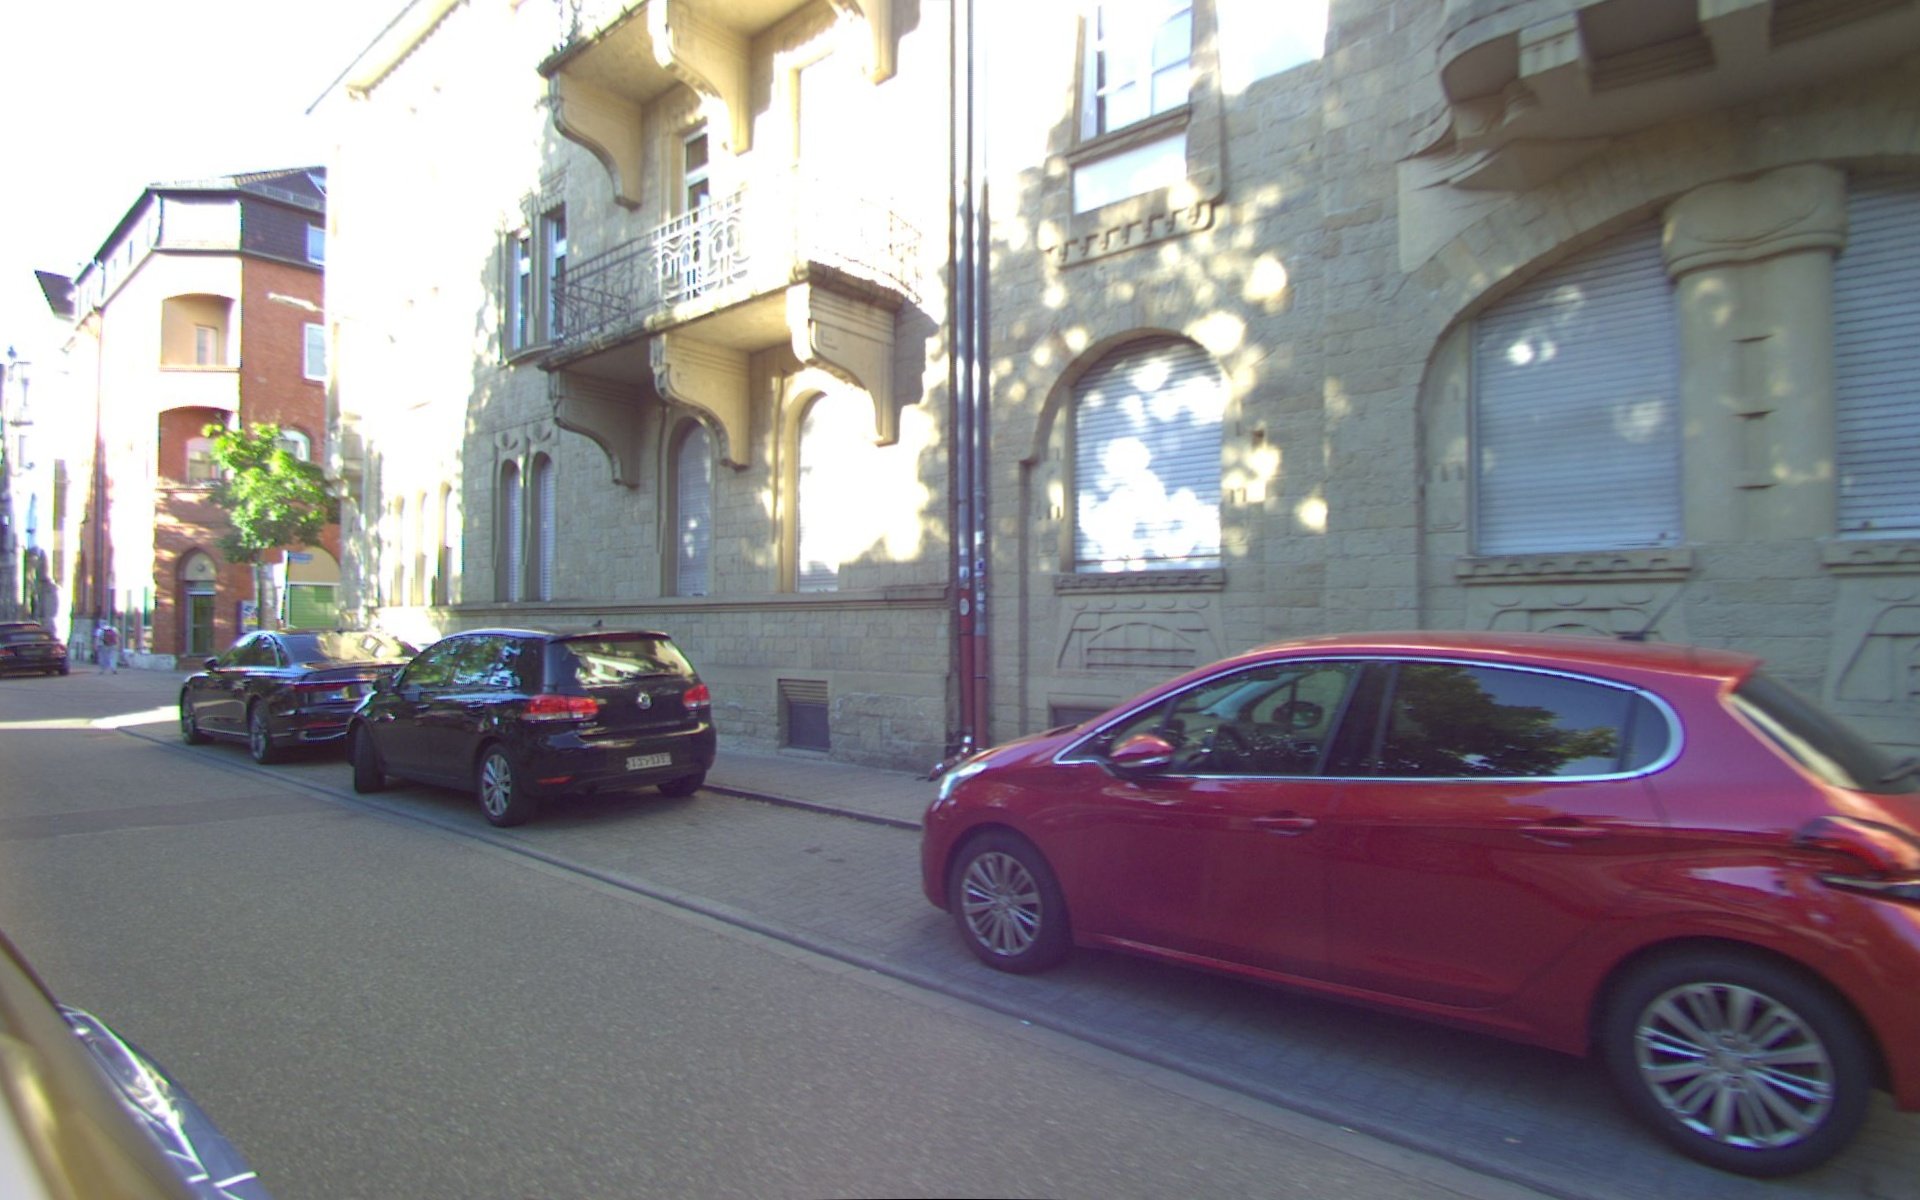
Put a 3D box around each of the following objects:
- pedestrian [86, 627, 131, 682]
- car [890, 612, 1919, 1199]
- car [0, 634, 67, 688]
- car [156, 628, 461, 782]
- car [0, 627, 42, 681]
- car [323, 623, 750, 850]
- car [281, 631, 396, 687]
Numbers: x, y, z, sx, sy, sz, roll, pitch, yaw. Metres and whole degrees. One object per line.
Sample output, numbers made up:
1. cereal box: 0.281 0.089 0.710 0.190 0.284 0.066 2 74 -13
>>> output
1. pedestrian: -25.567 1.608 30.379 1.053 1.589 0.879 1 0 41
2. car: 1.677 0.814 4.044 3.833 1.464 1.613 -2 -1 39
3. car: -27.867 1.756 29.951 4.331 1.421 1.619 -1 0 41
4. car: -8.057 1.101 12.300 4.895 1.437 1.793 -1 0 41
5. car: -32.123 1.763 33.735 4.346 1.693 1.653 -1 -1 39
6. car: -3.728 0.939 8.594 4.024 1.464 1.679 -1 -2 40
7. car: -18.484 1.683 30.009 4.656 1.480 1.618 -1 -1 41
